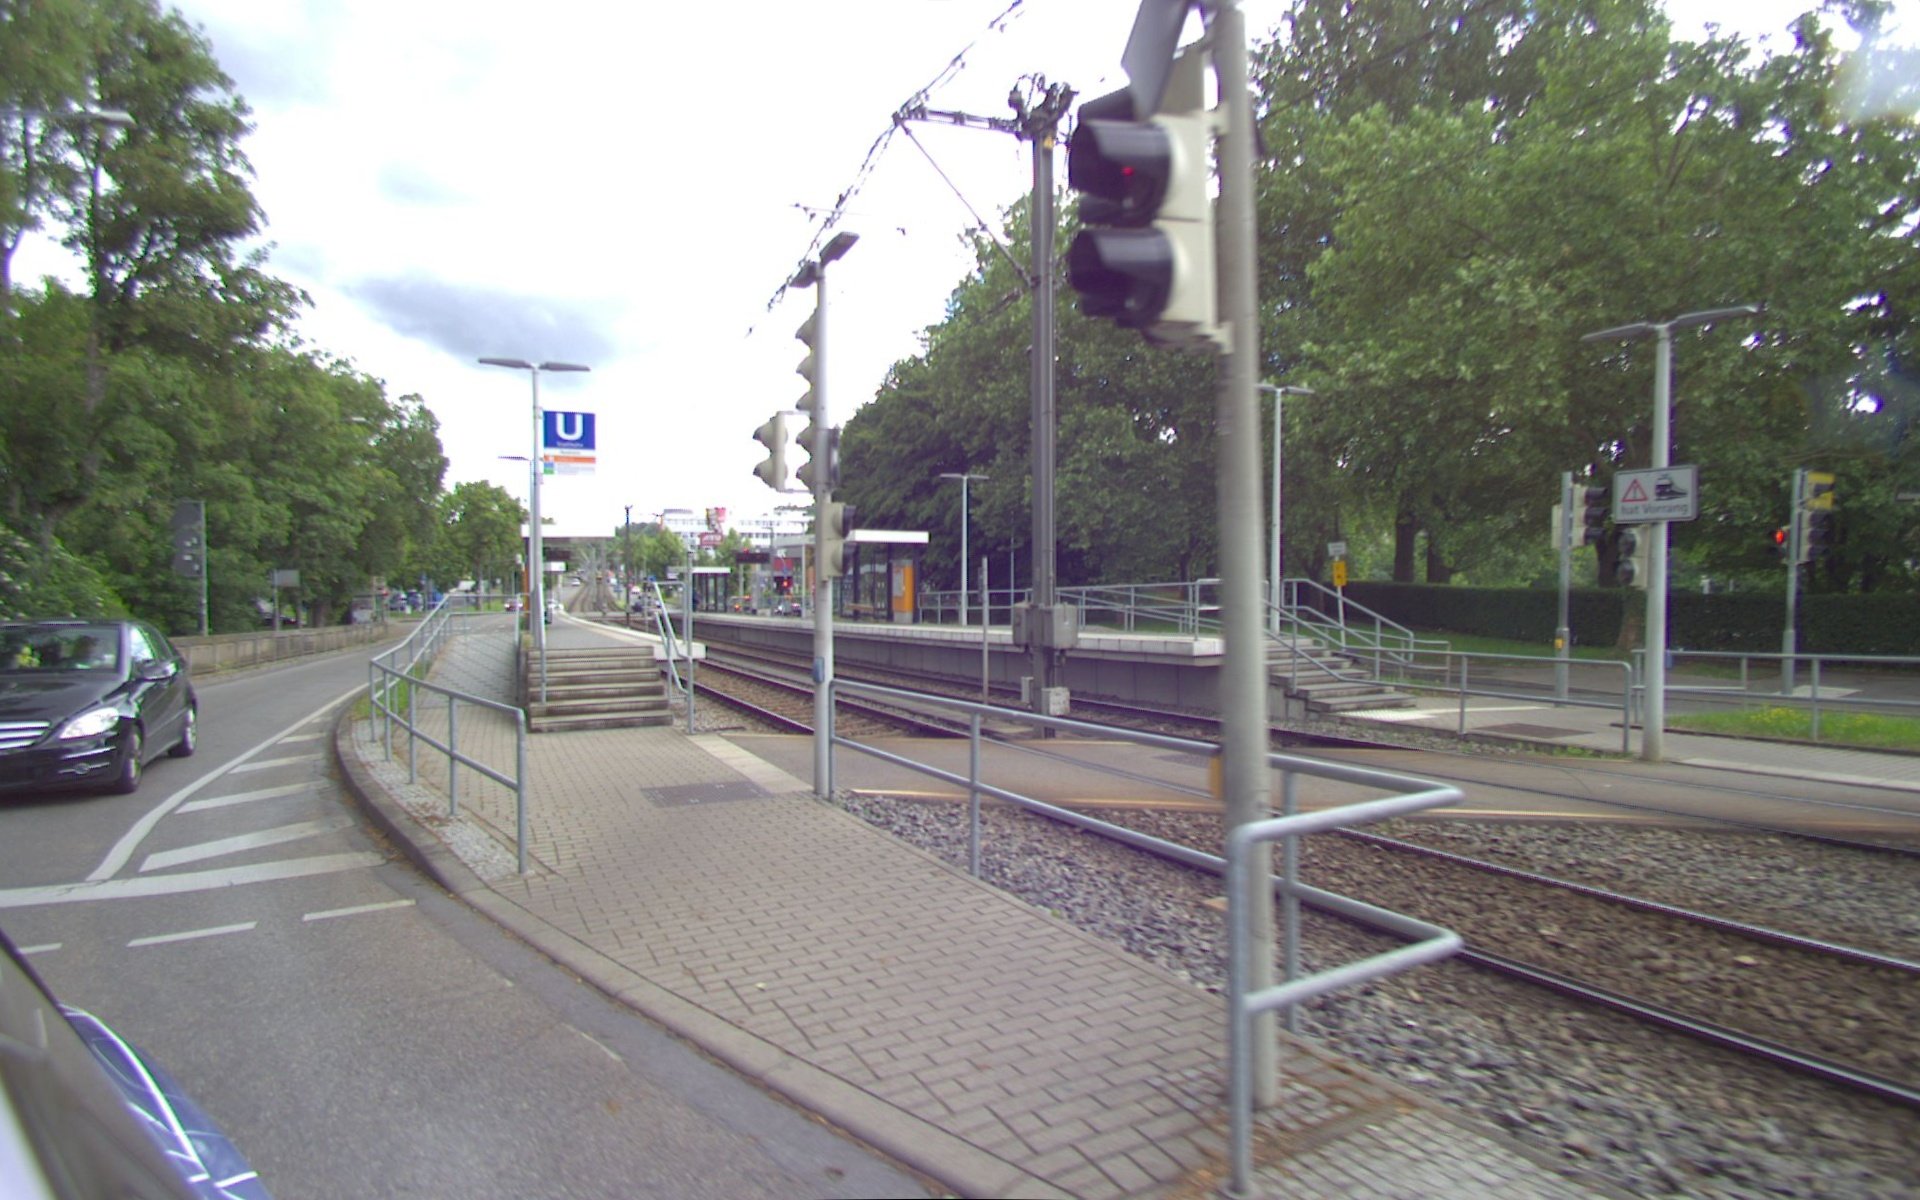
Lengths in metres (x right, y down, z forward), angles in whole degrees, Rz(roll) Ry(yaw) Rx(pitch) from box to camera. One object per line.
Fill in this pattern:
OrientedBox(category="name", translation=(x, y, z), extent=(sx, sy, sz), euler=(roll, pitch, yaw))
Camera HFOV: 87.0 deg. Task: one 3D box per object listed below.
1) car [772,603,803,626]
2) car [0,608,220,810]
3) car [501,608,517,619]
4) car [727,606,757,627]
OrientedBox(category="car", translation=(-14.057, 1.180, 82.417), extent=(1.712, 1.853, 3.812), euler=(0, -1, -22))
OrientedBox(category="car", translation=(-8.748, 0.897, 9.939), extent=(1.683, 1.595, 4.456), euler=(1, -1, -27))
OrientedBox(category="car", translation=(-53.581, 1.585, 120.243), extent=(1.687, 1.294, 3.586), euler=(0, -1, -25))
OrientedBox(category="car", translation=(-18.008, 1.333, 83.544), extent=(1.741, 1.712, 3.806), euler=(0, -1, -22))
